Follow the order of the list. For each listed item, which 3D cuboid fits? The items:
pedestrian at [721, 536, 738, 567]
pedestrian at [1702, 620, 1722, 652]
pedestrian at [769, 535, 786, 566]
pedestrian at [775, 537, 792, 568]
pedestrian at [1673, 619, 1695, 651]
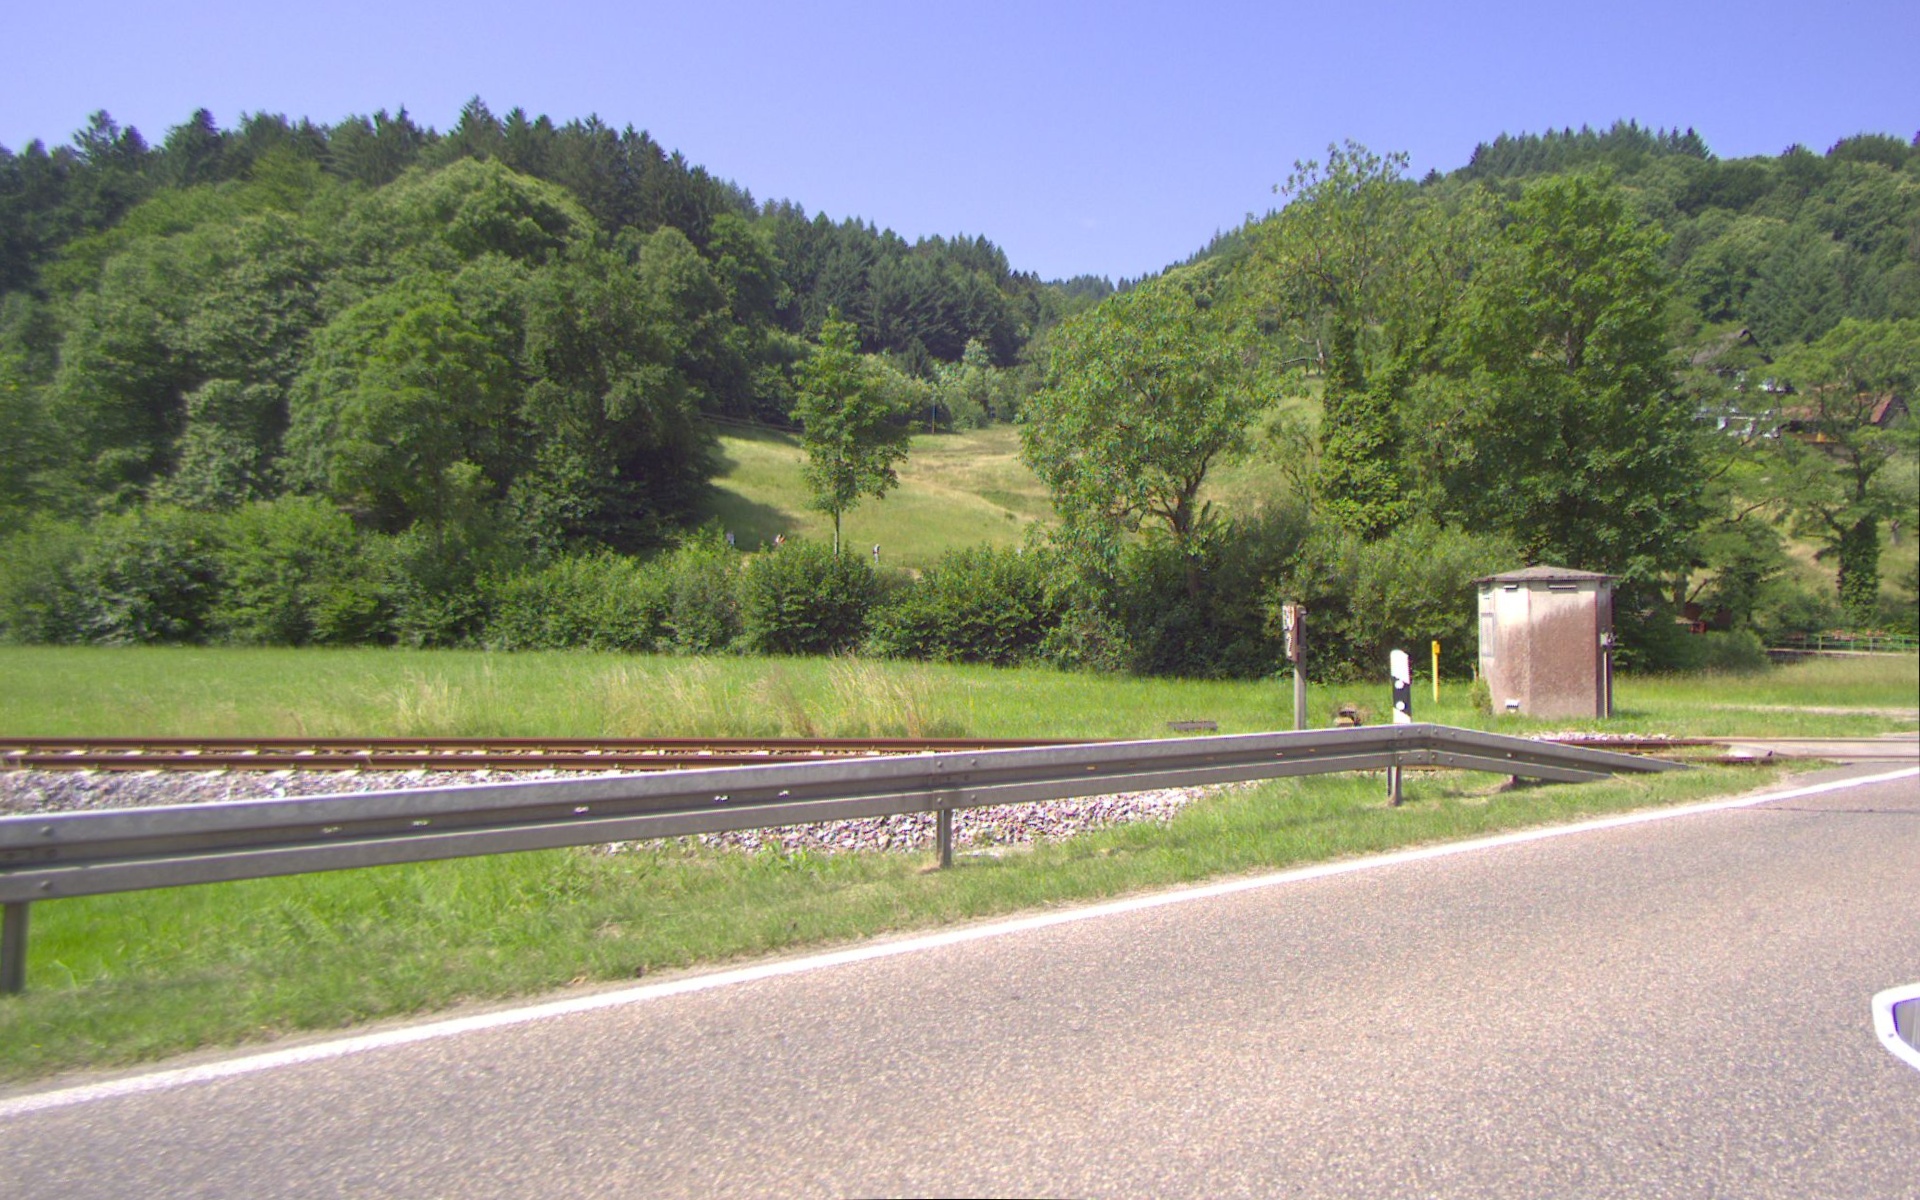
[{"bbox_3d":[-18.902,-3.964,82.316,1.060,2.397,1.075,1,-1,-30],"label":"pedestrian"},{"bbox_3d":[48.268,2.299,64.517,0.915,2.040,0.700,0,-2,29],"label":"pedestrian"},{"bbox_3d":[-14.736,-3.972,81.184,1.060,2.397,1.075,1,-1,-30],"label":"pedestrian"},{"bbox_3d":[-14.553,-3.905,82.745,1.060,2.397,1.075,1,-1,-30],"label":"pedestrian"},{"bbox_3d":[46.808,2.269,64.909,0.916,2.040,0.699,1,-2,-13],"label":"pedestrian"}]
